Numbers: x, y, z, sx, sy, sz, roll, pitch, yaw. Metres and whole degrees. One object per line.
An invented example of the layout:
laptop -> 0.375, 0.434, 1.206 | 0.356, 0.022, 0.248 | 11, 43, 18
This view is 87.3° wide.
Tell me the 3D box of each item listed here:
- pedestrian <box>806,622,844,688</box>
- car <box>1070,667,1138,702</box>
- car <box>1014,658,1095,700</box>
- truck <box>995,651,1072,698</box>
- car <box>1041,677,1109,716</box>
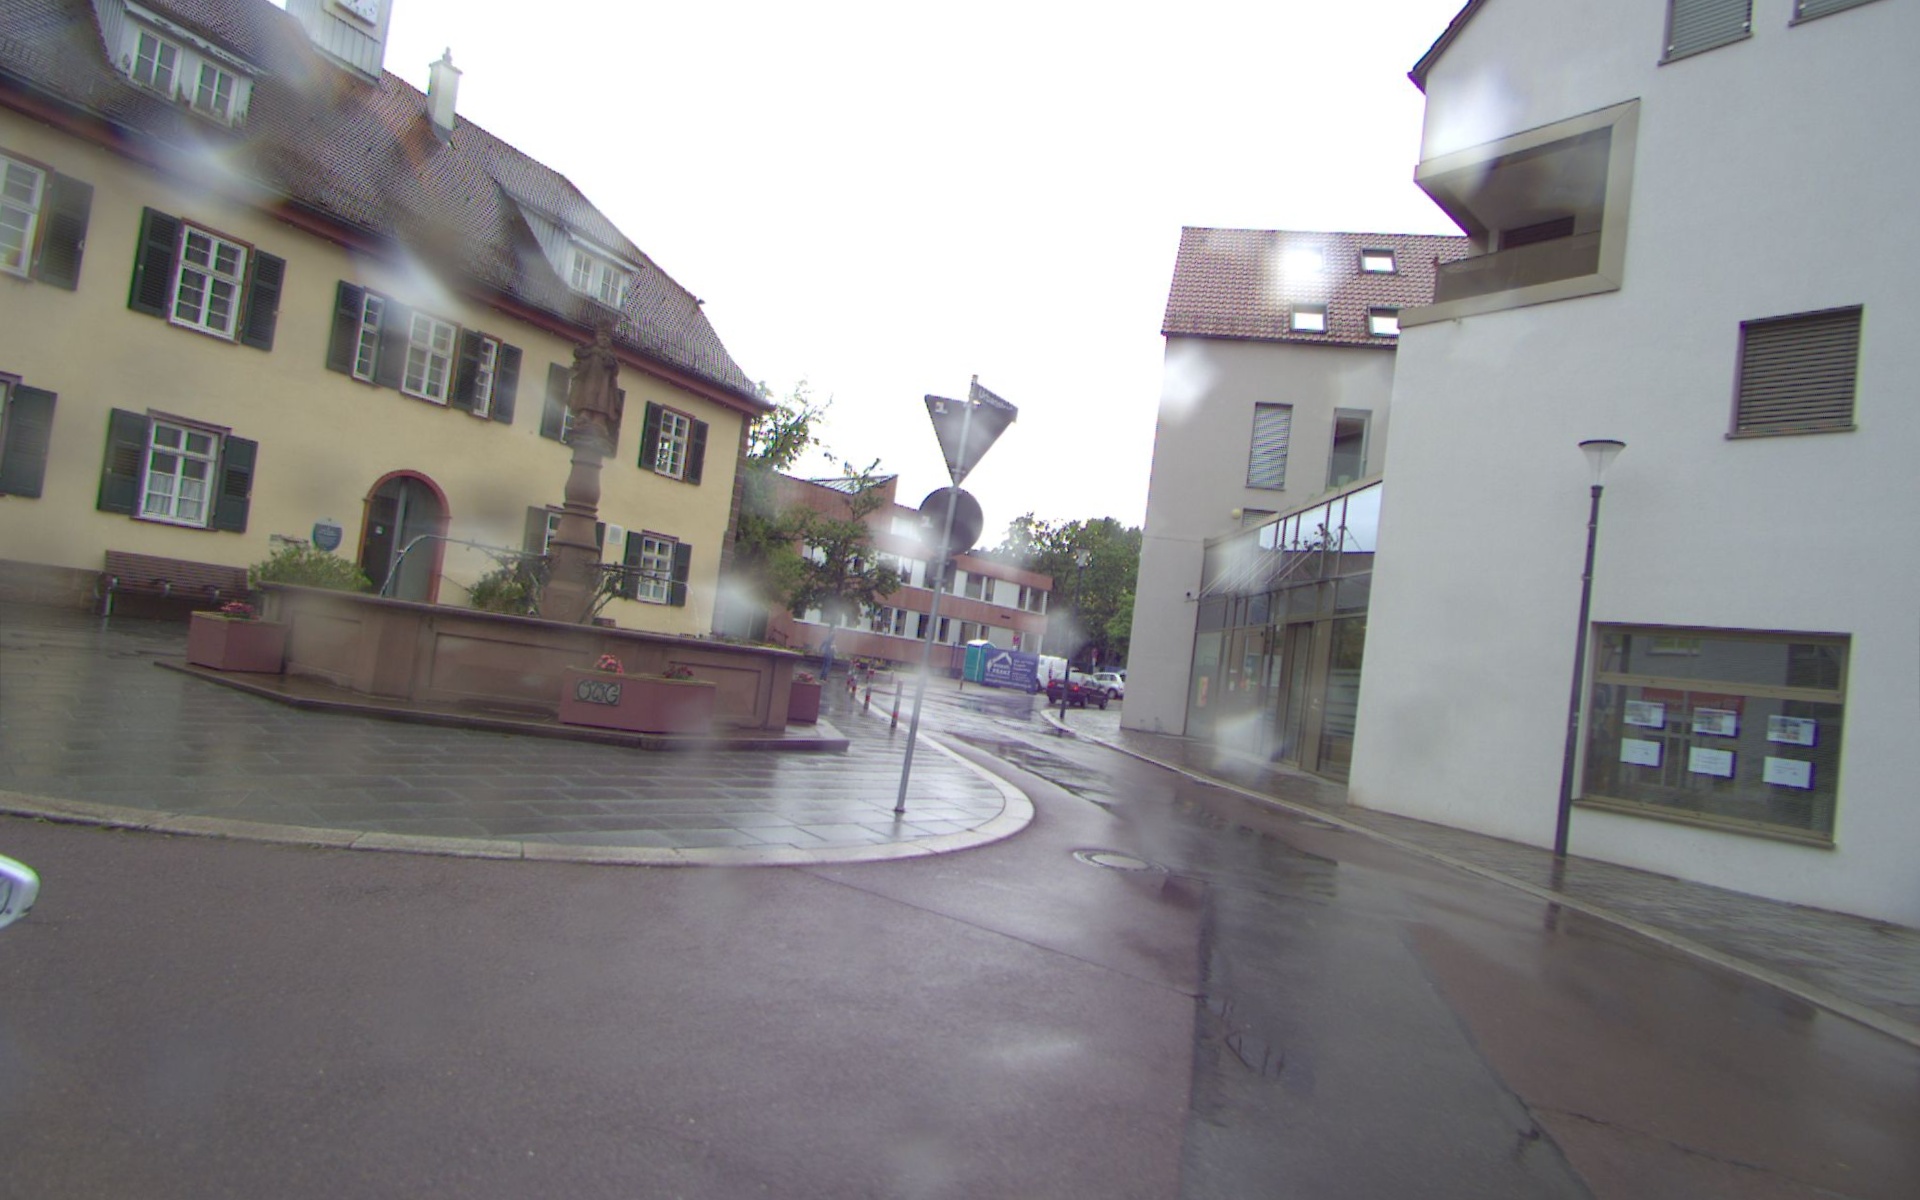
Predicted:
pedestrian -> -4.042, 1.651, 30.107 | 0.778, 1.842, 0.687 | 7, -1, 4
car -> 8.839, 5.187, 61.775 | 3.489, 1.566, 1.862 | 6, -2, 32
car -> 5.379, 4.493, 57.428 | 3.933, 1.814, 1.998 | 6, -2, 31
truck -> 3.980, 4.025, 54.525 | 3.489, 2.036, 1.862 | 6, -2, 32
car -> 4.971, 4.174, 43.068 | 1.643, 1.378, 3.606 | 7, -3, 27
